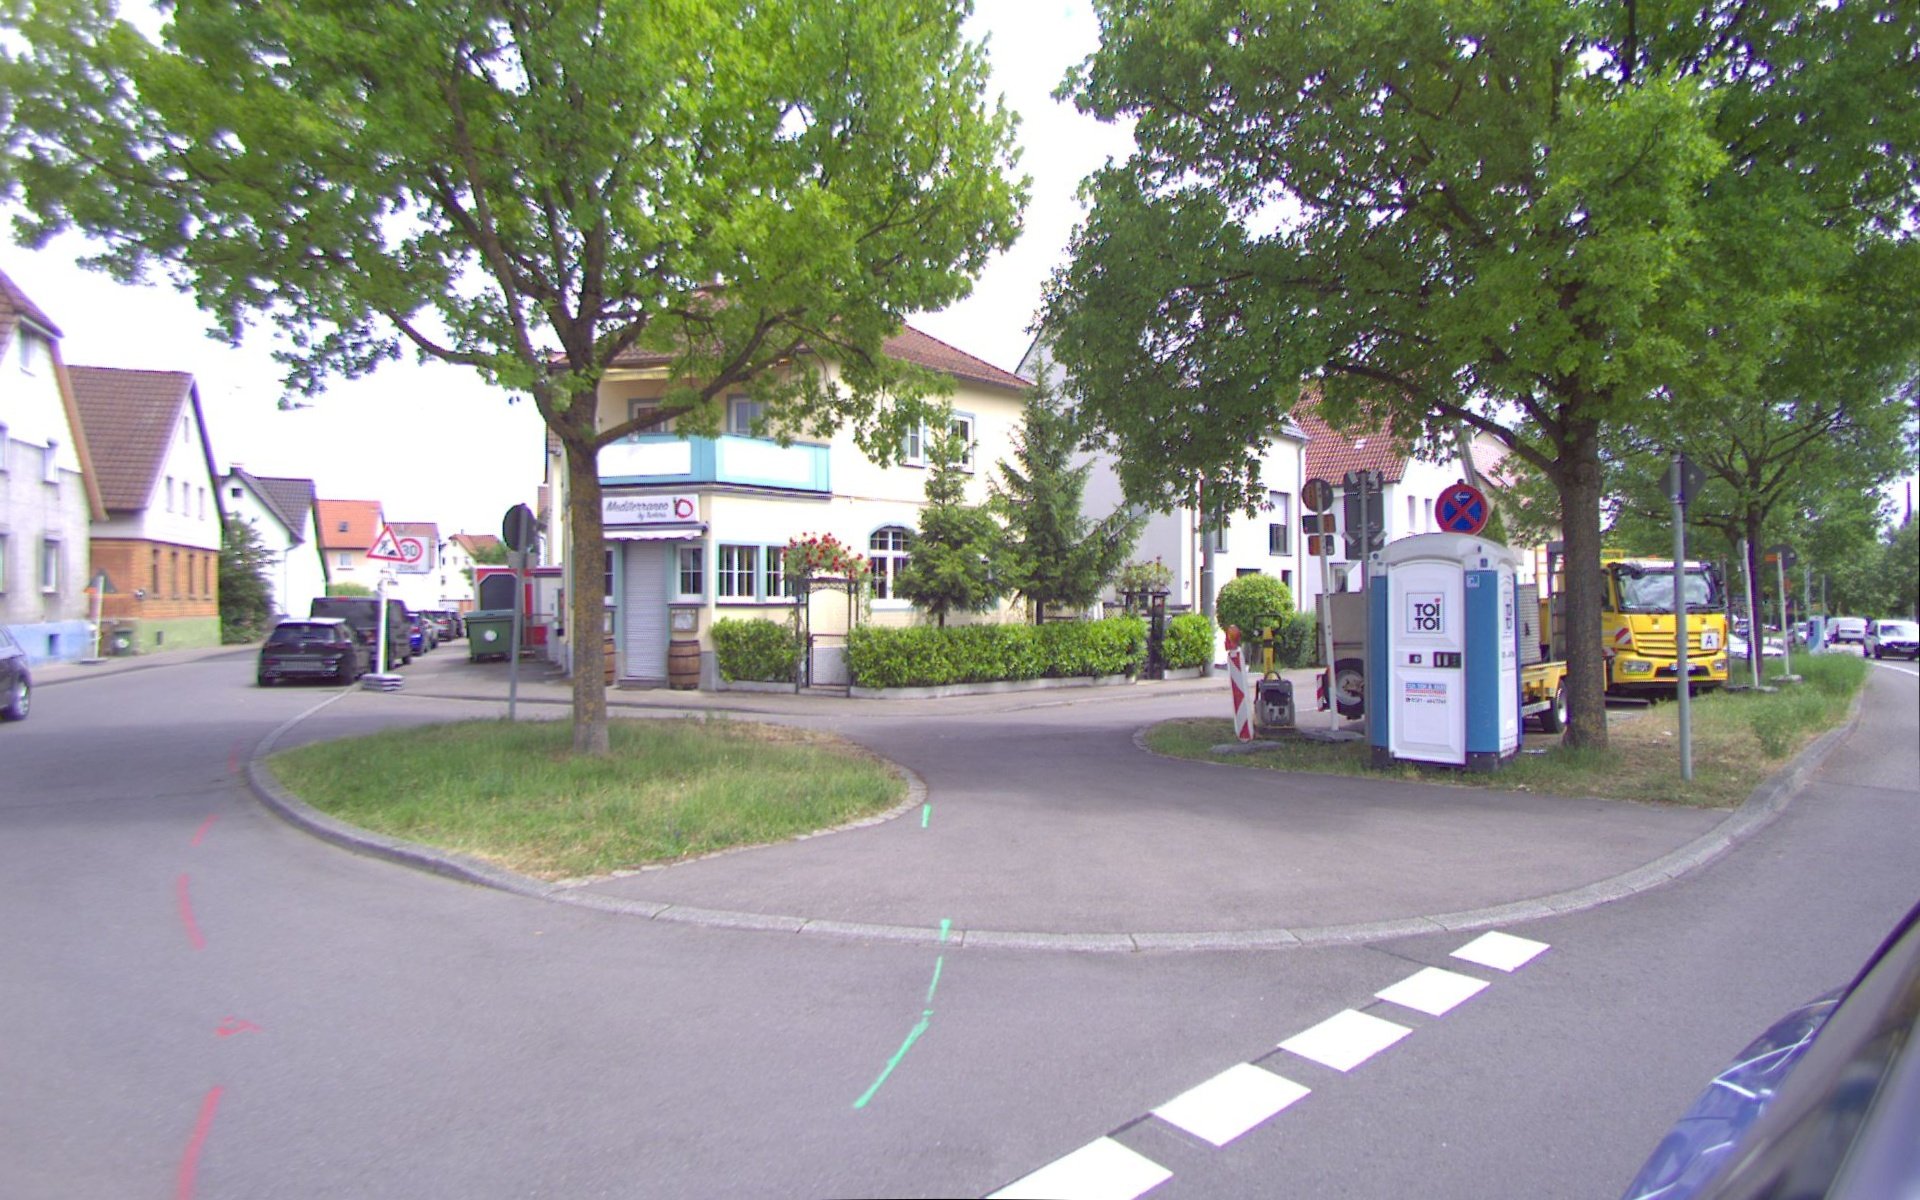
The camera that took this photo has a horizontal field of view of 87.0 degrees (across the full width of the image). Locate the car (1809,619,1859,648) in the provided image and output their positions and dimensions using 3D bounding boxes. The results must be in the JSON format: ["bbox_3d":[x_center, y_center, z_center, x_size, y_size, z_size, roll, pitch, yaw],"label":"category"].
[{"bbox_3d":[53.239,2.024,61.683,1.988,1.683,3.947,0,-1,36],"label":"car"}]

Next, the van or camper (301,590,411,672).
[{"bbox_3d":[-16.178,0.799,27.330,1.813,2.024,4.099,1,-1,-21],"label":"van or camper"}]

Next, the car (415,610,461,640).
[{"bbox_3d":[-28.910,1.360,56.166,1.891,1.573,3.885,1,-1,-22],"label":"car"}]

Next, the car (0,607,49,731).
[{"bbox_3d":[-13.330,0.893,12.544,1.831,1.646,4.006,1,-2,-24],"label":"car"}]

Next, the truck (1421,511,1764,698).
[{"bbox_3d":[12.561,0.265,20.990,2.295,3.241,6.636,1,-3,-7],"label":"truck"}]

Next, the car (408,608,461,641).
[{"bbox_3d":[-25.972,1.205,50.106,1.891,1.573,3.885,1,-1,-22],"label":"car"}]

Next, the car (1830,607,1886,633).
[{"bbox_3d":[63.062,1.390,71.178,1.981,1.751,4.064,0,-1,28],"label":"car"}]

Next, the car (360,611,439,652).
[{"bbox_3d":[-19.859,1.099,36.015,1.958,1.378,3.885,1,-1,-22],"label":"car"}]

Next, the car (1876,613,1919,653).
[{"bbox_3d":[42.900,1.463,45.642,1.989,1.751,4.048,0,-1,37],"label":"car"}]

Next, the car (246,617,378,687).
[{"bbox_3d":[-14.375,1.091,22.687,1.678,1.395,4.007,1,-1,-21],"label":"car"}]

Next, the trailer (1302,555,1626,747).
[{"bbox_3d":[7.580,0.672,14.891,2.592,2.275,5.582,-3,-3,45],"label":"trailer"}]

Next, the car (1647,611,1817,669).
[{"bbox_3d":[24.583,1.217,32.458,1.960,1.598,4.310,1,0,-4],"label":"car"}]

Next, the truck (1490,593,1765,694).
[{"bbox_3d":[15.031,0.989,23.396,1.960,2.040,5.960,0,-2,-5],"label":"truck"}]

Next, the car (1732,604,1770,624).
[{"bbox_3d":[71.356,1.269,91.317,1.981,1.751,4.064,0,-1,28],"label":"car"}]

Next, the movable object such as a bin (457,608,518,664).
[{"bbox_3d":[-13.075,0.991,28.054,1.384,1.510,1.309,1,-1,-20],"label":"movable object such as a bin"}]

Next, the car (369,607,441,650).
[{"bbox_3d":[-21.626,1.080,39.581,1.958,1.573,3.885,1,-1,-22],"label":"car"}]
